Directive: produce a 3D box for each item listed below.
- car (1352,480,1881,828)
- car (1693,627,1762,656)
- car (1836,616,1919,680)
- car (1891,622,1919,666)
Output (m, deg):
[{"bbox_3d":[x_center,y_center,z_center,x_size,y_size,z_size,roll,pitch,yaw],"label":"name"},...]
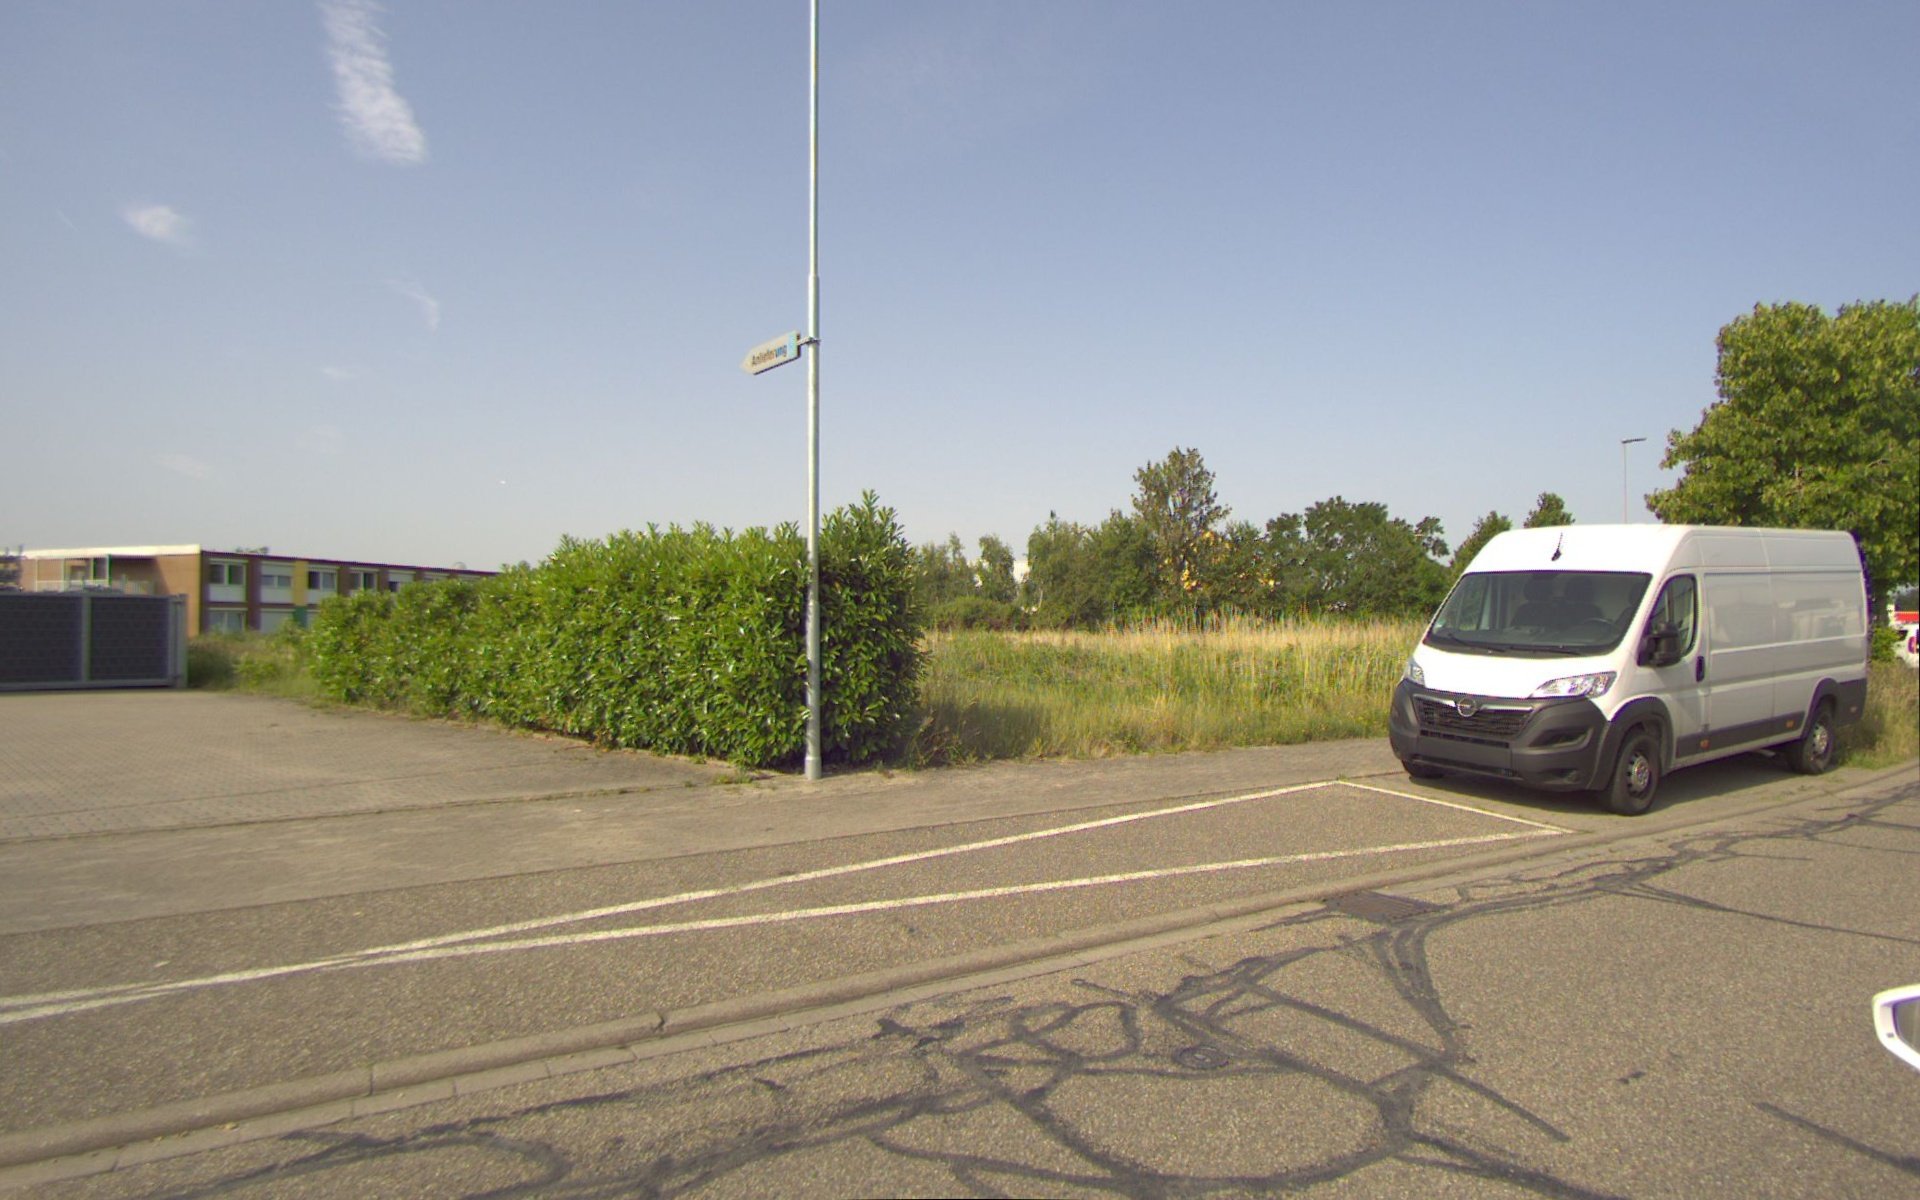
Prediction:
[{"bbox_3d":[6.927,0.440,10.250,6.434,2.630,2.089,1,1,-33],"label":"car"},{"bbox_3d":[43.498,2.348,57.035,1.686,1.535,4.006,-2,-2,16],"label":"car"},{"bbox_3d":[33.478,1.695,35.573,2.086,2.138,4.626,0,-2,19],"label":"car"},{"bbox_3d":[37.239,1.641,37.527,1.769,1.647,4.451,-2,-2,17],"label":"car"}]
